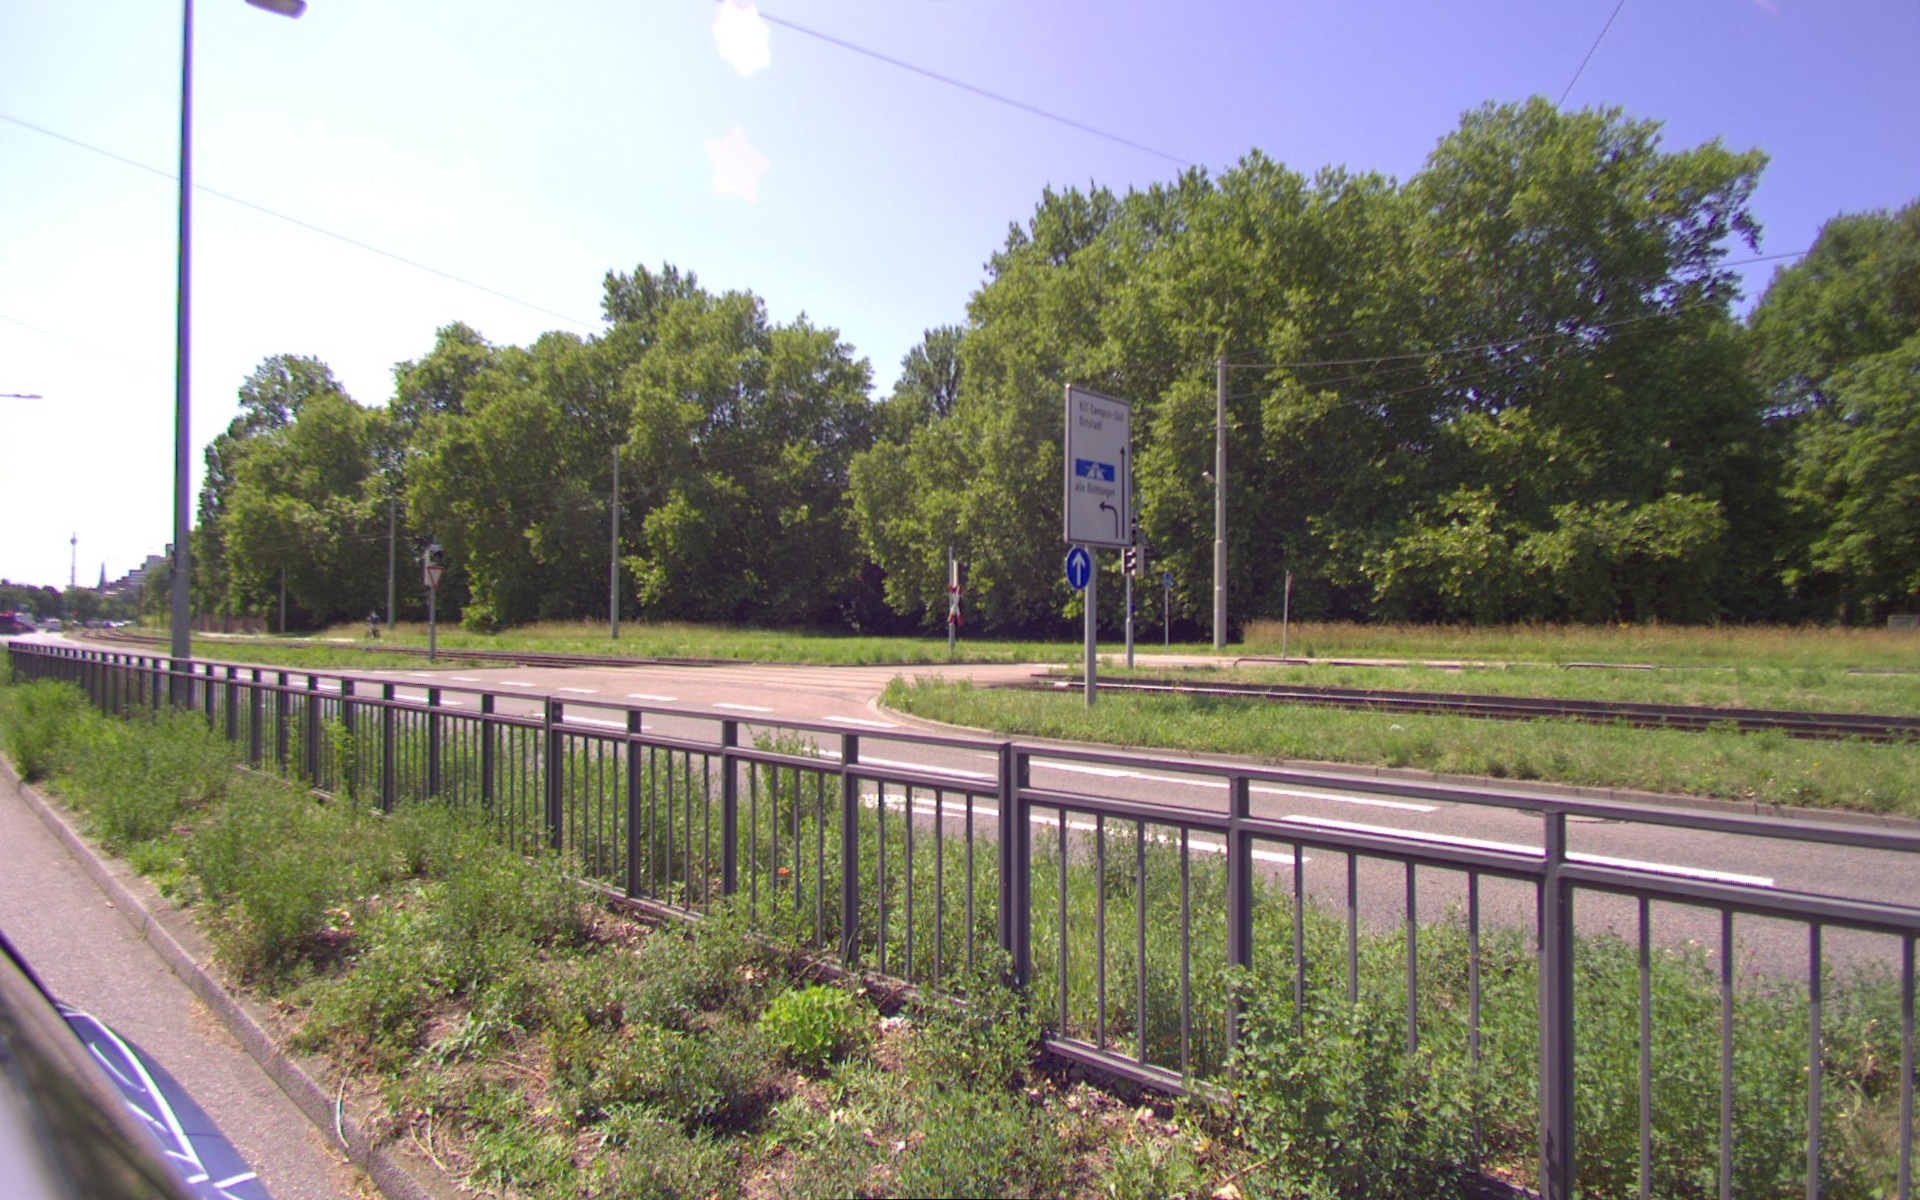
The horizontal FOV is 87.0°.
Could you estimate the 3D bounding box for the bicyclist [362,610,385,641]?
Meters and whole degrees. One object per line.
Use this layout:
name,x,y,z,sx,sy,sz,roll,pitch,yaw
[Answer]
bicyclist,-35.104,1.510,60.553,1.117,1.820,0.851,-1,-2,41

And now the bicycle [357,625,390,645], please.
bicycle,-35.126,2.073,60.563,2.785,1.171,0.851,-1,-2,41

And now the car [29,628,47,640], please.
car,-141.928,5.259,155.768,1.970,1.871,4.003,1,-2,-44

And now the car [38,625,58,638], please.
car,-136.430,4.659,151.372,1.970,1.871,4.003,1,-2,-44

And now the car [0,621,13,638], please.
car,-106.742,3.300,112.621,1.970,1.871,4.004,1,-2,-43
